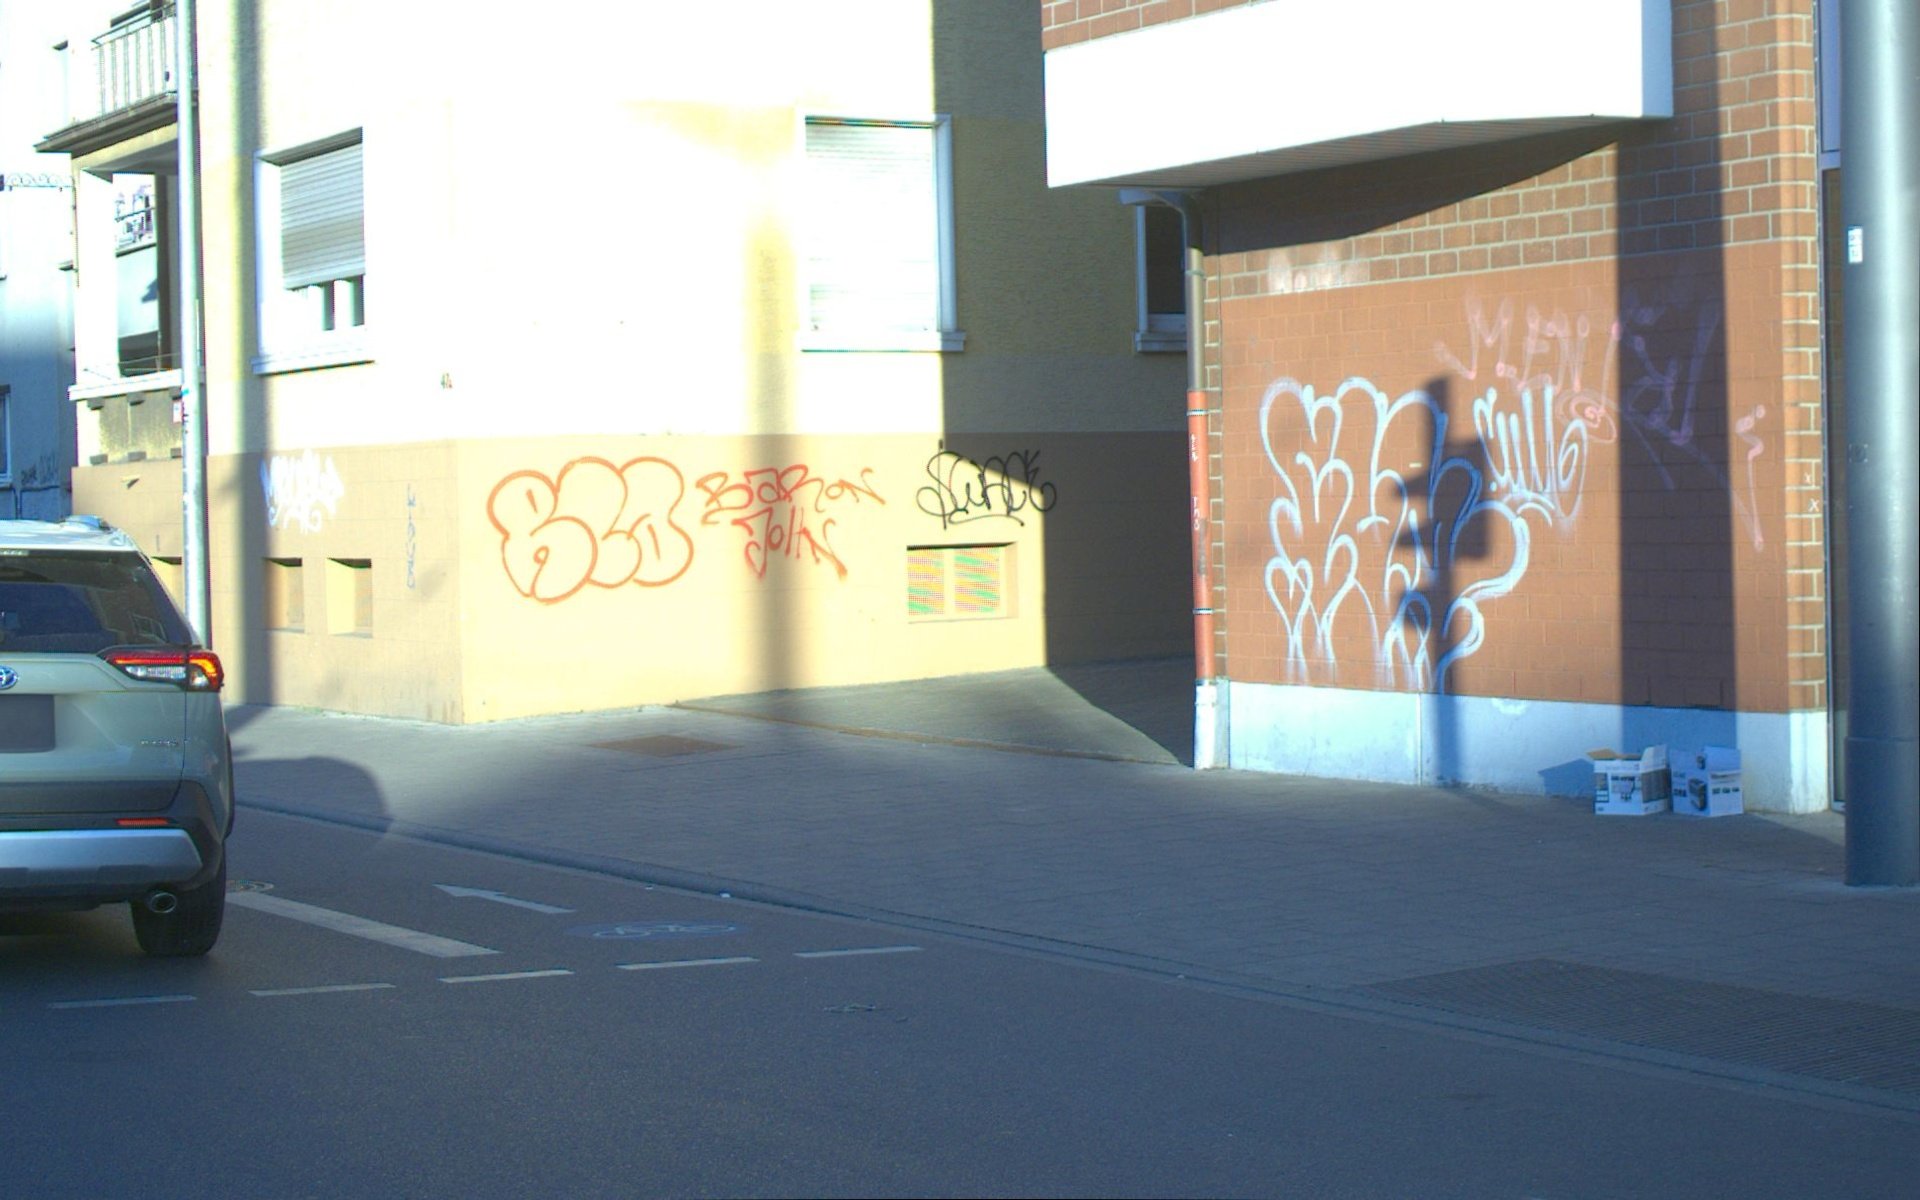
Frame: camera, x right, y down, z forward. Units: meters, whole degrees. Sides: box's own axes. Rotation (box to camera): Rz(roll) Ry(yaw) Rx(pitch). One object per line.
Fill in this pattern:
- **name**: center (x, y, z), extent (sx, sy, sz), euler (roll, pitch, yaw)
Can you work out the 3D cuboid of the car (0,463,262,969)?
- **car**: center (-4.141, 0.375, 13.491), extent (1.857, 1.708, 4.193), euler (0, 0, -24)
